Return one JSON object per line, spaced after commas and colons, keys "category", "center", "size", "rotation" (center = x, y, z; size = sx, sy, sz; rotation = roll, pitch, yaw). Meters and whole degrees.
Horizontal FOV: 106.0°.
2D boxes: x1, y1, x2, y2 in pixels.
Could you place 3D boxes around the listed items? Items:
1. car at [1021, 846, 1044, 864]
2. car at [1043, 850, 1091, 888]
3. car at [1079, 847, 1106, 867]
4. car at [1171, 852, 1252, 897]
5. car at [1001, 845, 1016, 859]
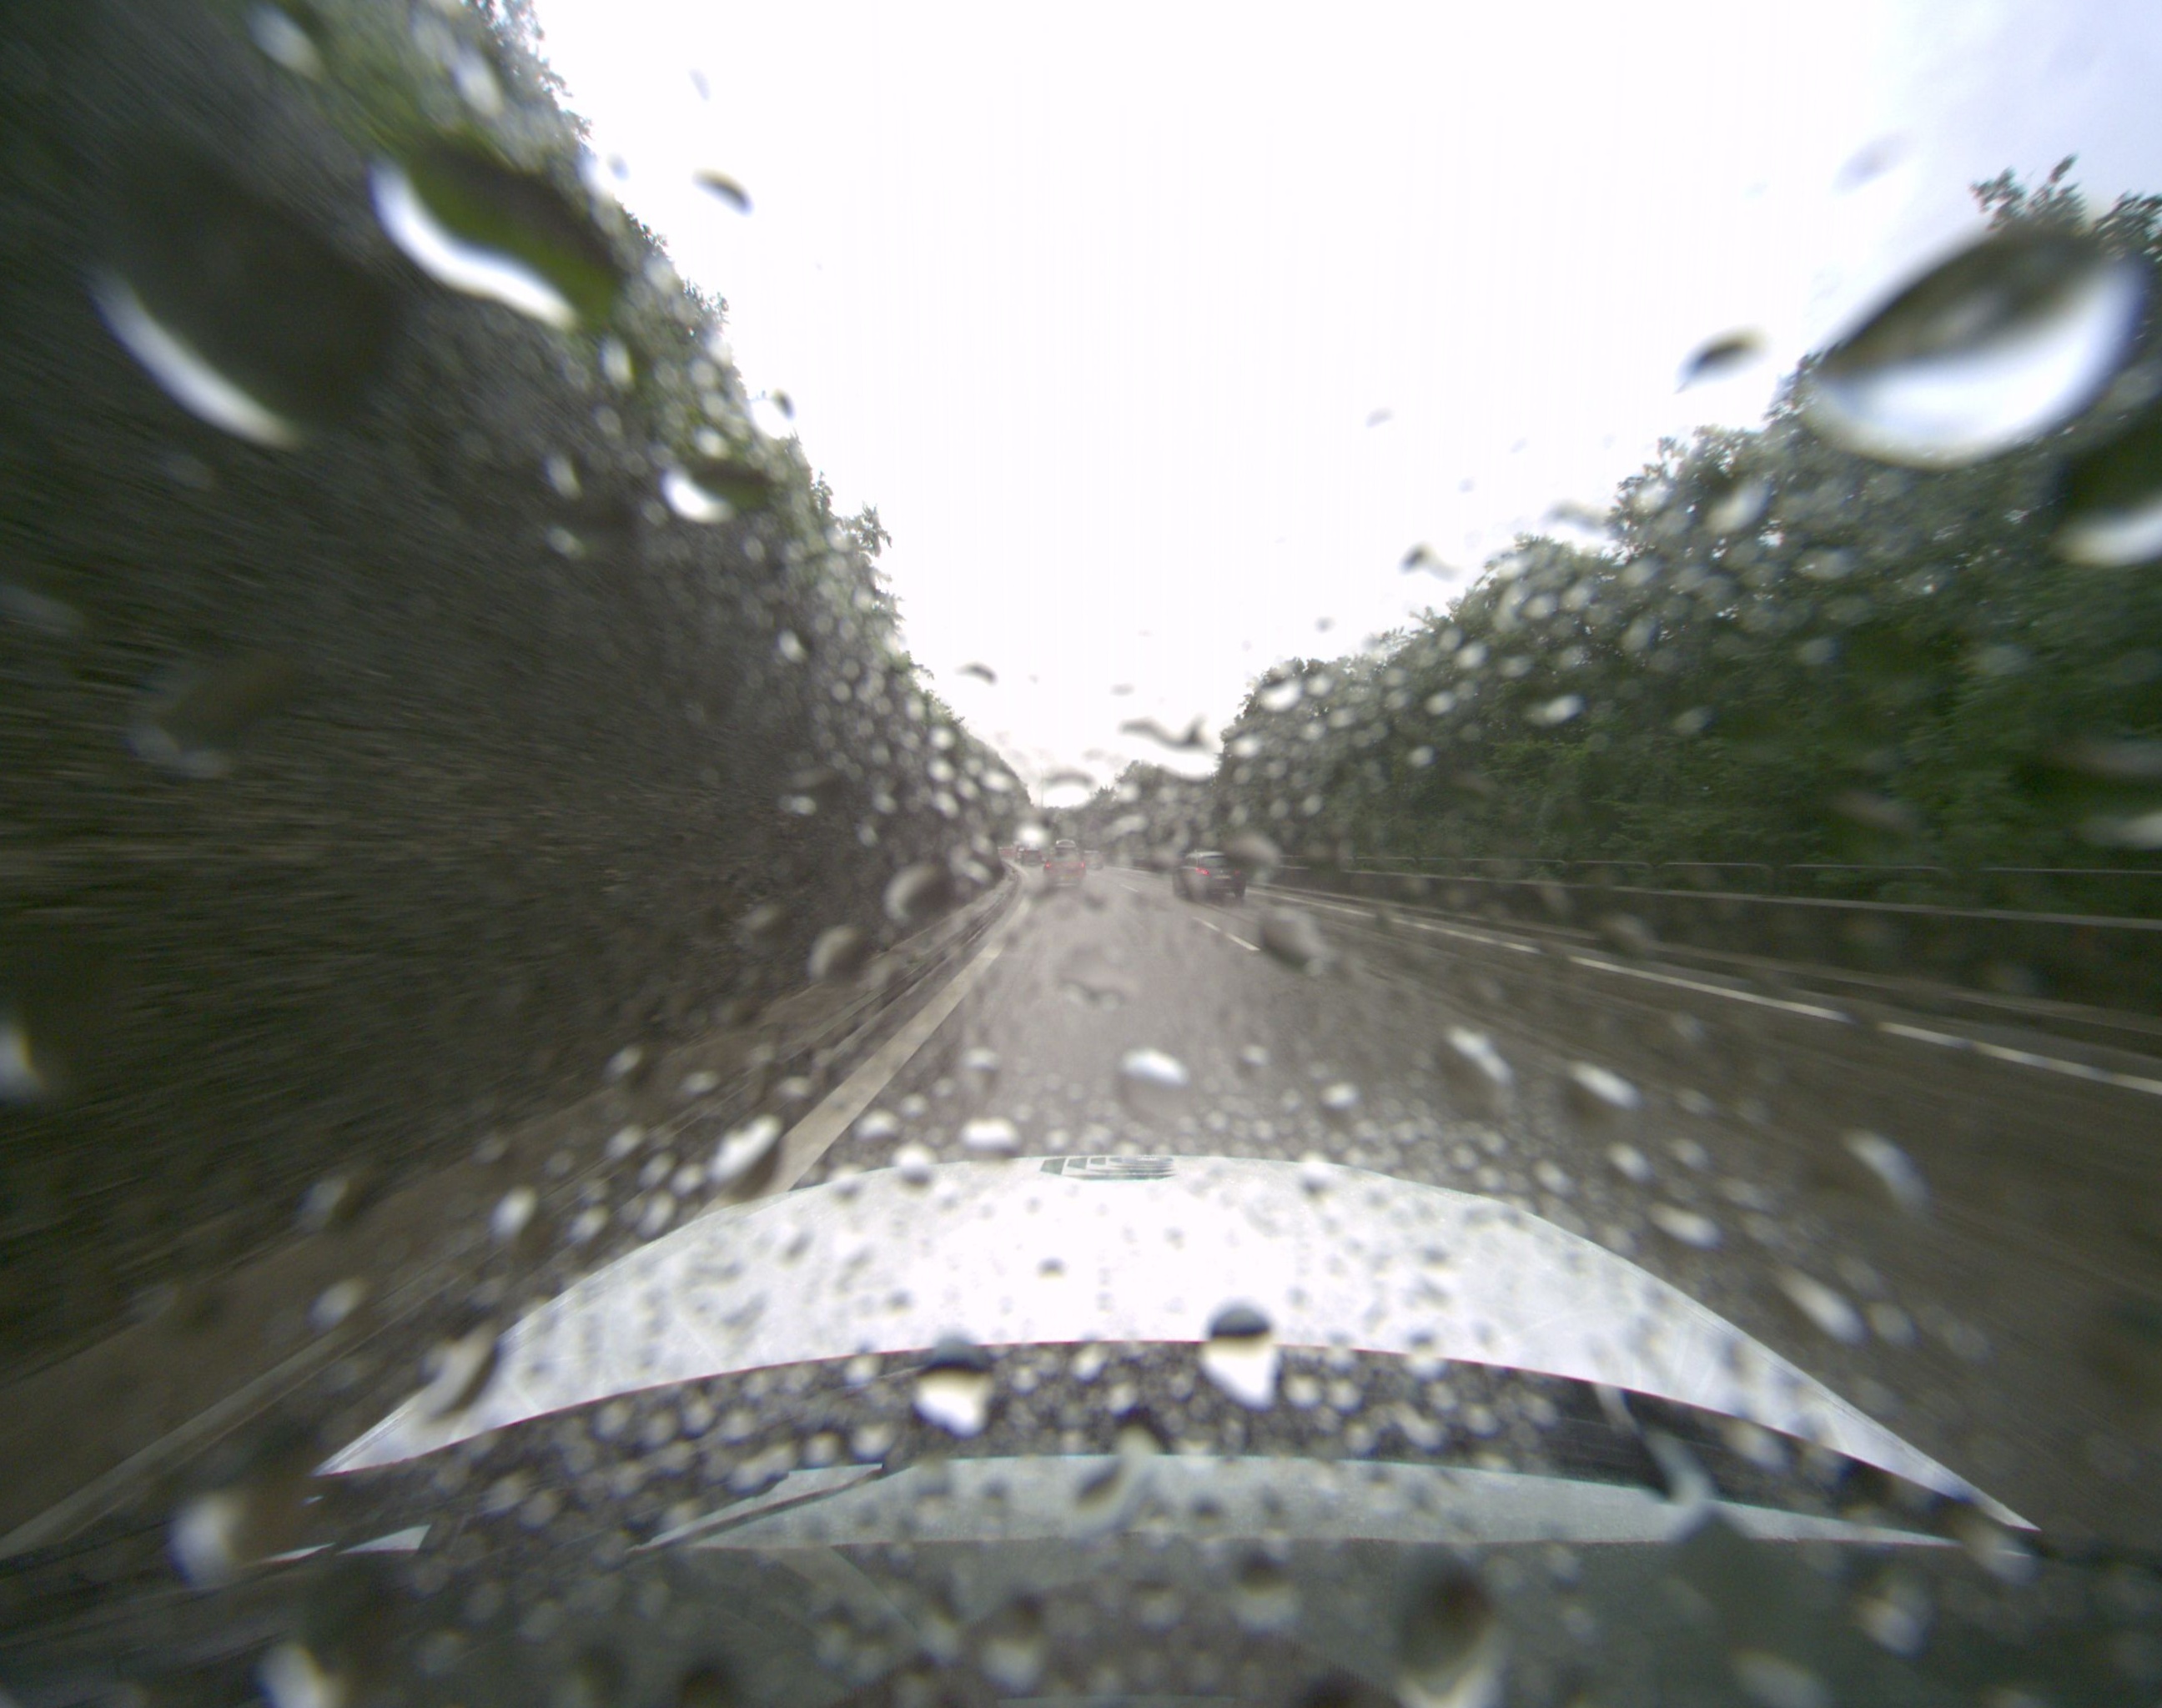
{"category": "car", "center": [-4.688, 0.168, 78.609], "size": [1.991, 1.684, 3.991], "rotation": [0, -1, -7]}
{"category": "car", "center": [-0.648, 0.635, 35.326], "size": [1.989, 1.552, 3.996], "rotation": [-1, 0, -2]}
{"category": "car", "center": [0.958, 0.231, 68.146], "size": [1.989, 1.552, 3.995], "rotation": [-1, 0, -3]}
{"category": "car", "center": [4.162, 0.618, 26.557], "size": [1.797, 1.307, 3.995], "rotation": [-1, 0, -3]}
{"category": "car", "center": [-10.473, -0.249, 118.464], "size": [1.989, 2.014, 3.996], "rotation": [0, -1, -3]}
